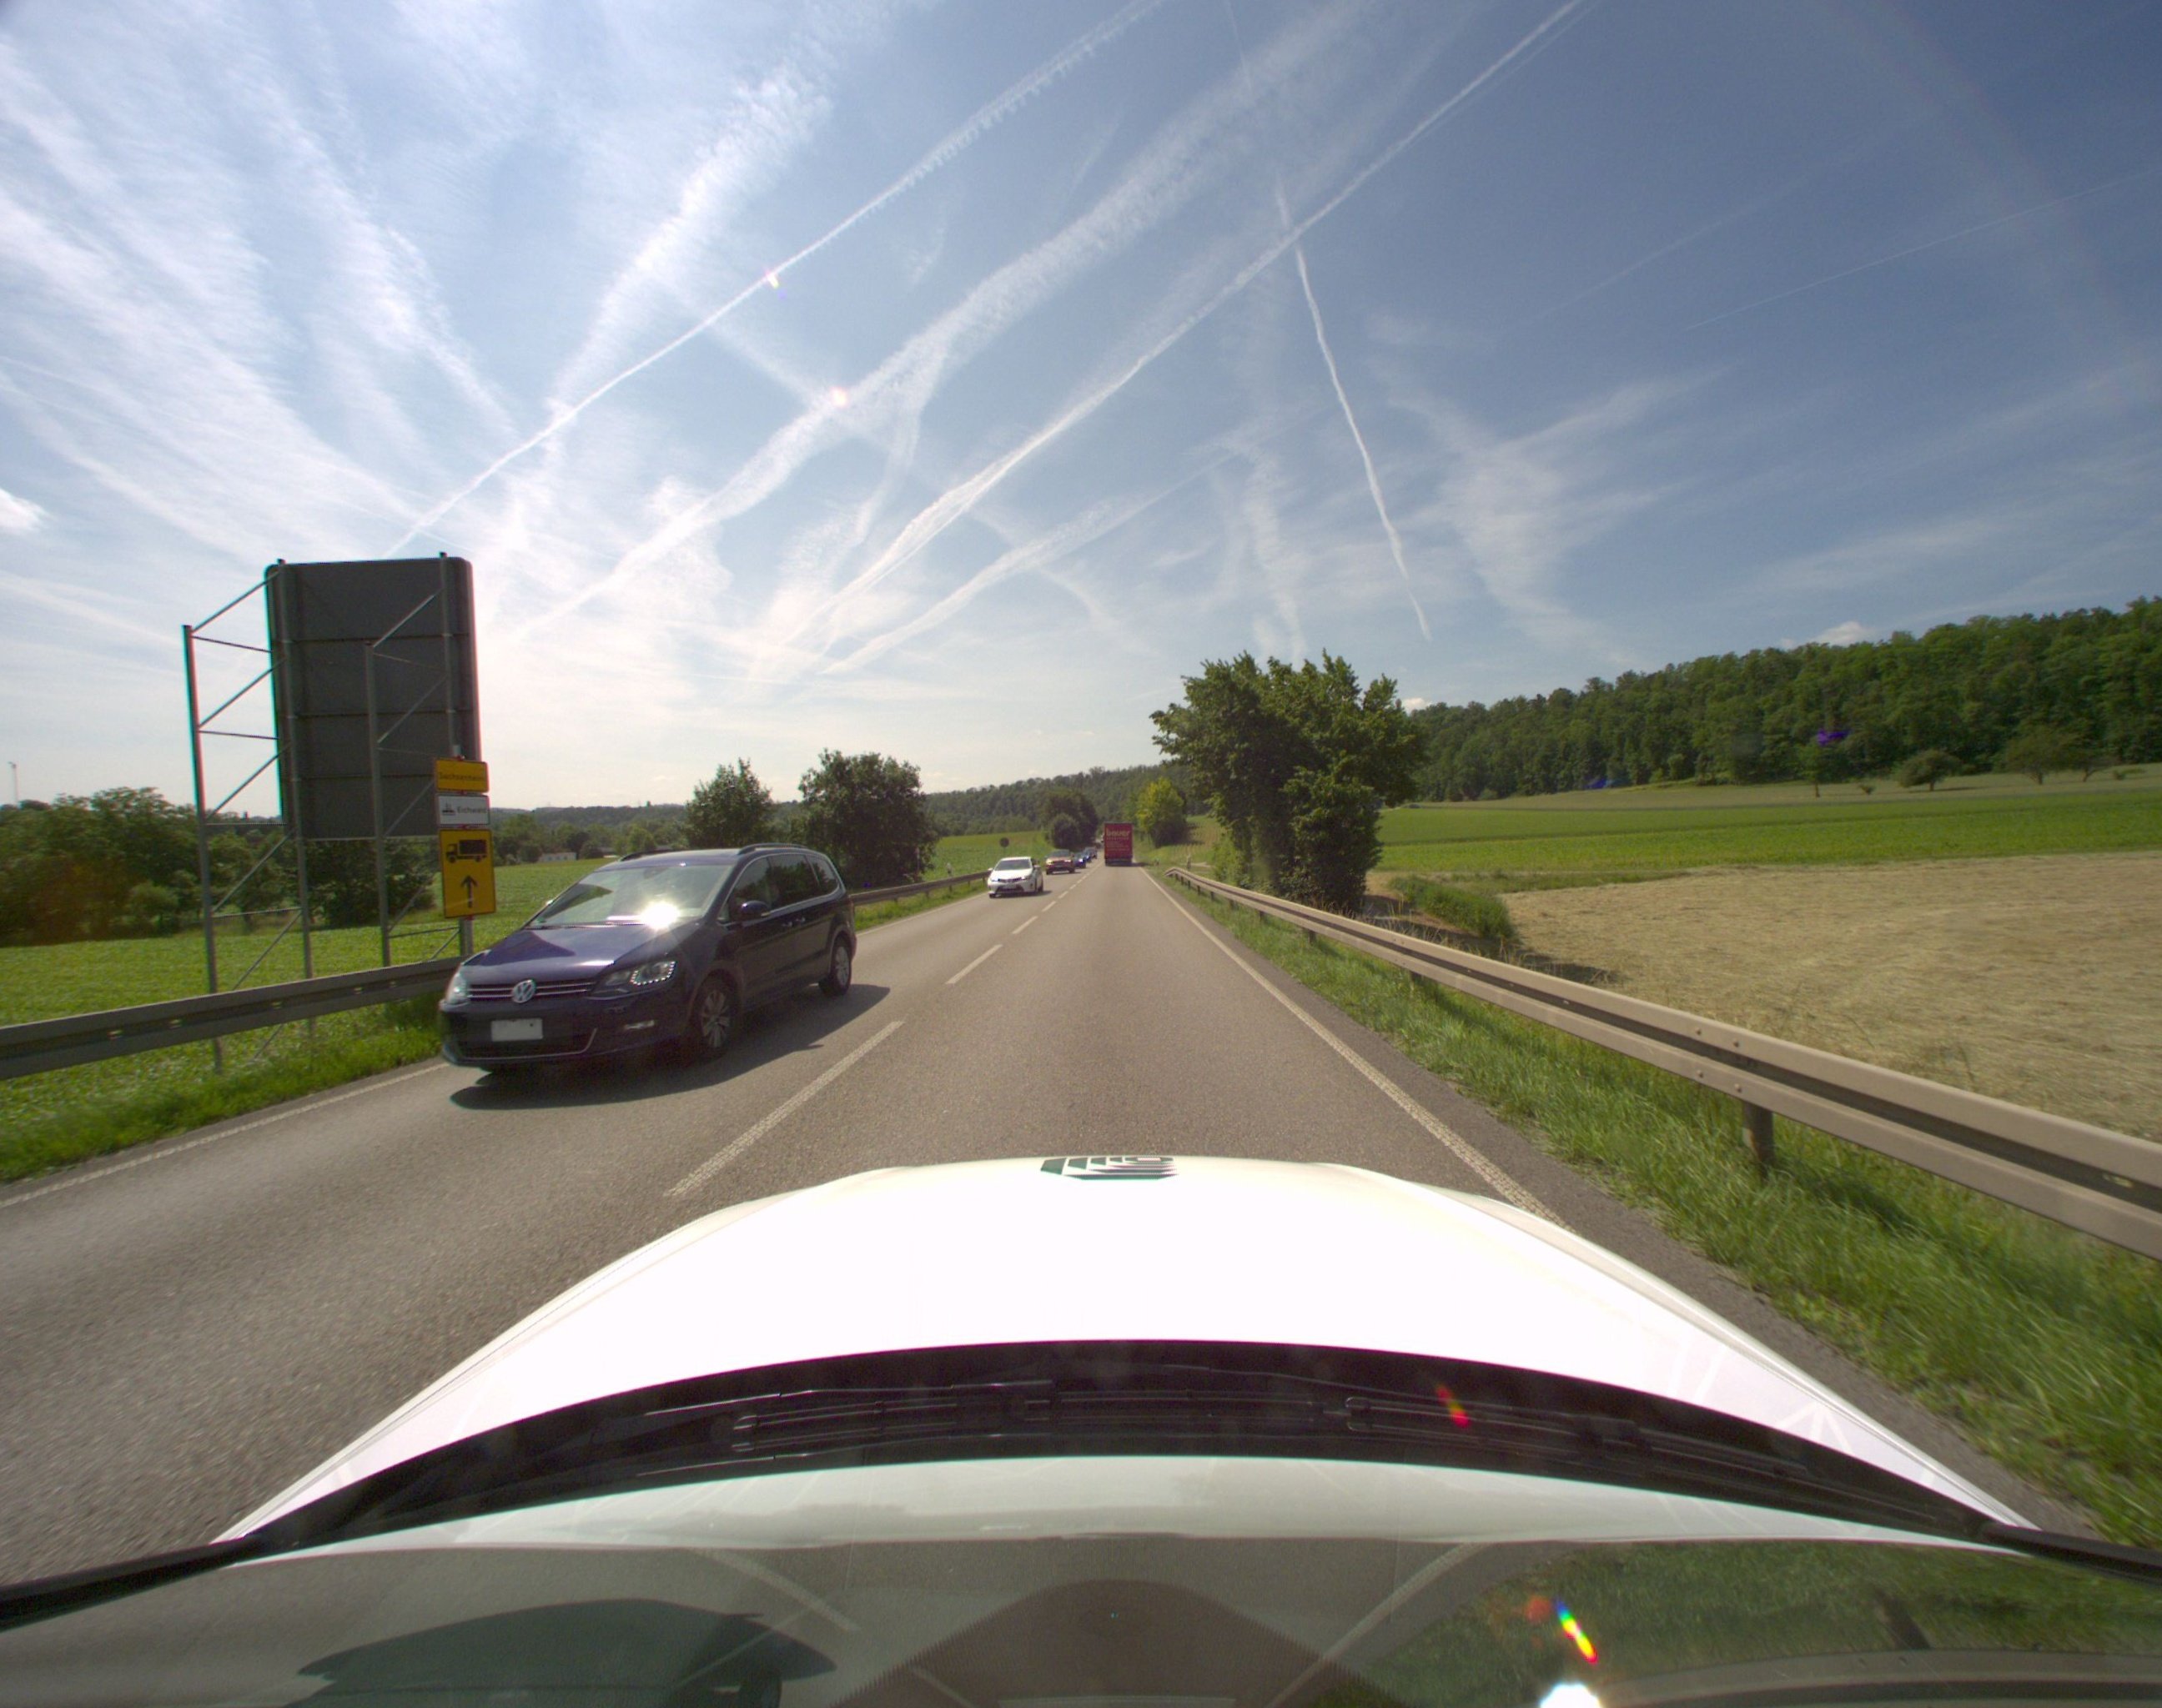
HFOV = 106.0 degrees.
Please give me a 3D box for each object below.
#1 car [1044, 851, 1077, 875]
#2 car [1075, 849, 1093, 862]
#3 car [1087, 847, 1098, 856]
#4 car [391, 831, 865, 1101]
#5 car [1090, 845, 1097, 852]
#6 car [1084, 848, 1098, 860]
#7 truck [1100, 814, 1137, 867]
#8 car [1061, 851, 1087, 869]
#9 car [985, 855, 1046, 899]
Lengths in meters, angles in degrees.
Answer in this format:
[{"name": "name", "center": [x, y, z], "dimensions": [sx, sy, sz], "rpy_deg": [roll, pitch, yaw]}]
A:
[{"name": "car", "center": [-1.388, 0.599, 56.848], "dimensions": [1.905, 1.474, 3.876], "rpy_deg": [-3, 0, 3]}, {"name": "car", "center": [0.392, 0.164, 92.567], "dimensions": [1.825, 1.342, 4.003], "rpy_deg": [-2, 1, 3]}, {"name": "car", "center": [1.922, -0.454, 136.205], "dimensions": [1.801, 1.486, 4.003], "rpy_deg": [-2, 0, 2]}, {"name": "car", "center": [-3.647, 0.754, 7.688], "dimensions": [1.822, 1.722, 4.365], "rpy_deg": [-4, 0, 2]}, {"name": "car", "center": [3.428, -1.394, 221.362], "dimensions": [1.986, 1.794, 4.001], "rpy_deg": [-2, 0, 2]}, {"name": "car", "center": [1.359, -0.025, 113.484], "dimensions": [1.801, 1.486, 4.003], "rpy_deg": [-2, 0, 2]}, {"name": "truck", "center": [3.604, -1.257, 78.916], "dimensions": [3.160, 4.625, 13.552], "rpy_deg": [-1, 0, 2]}, {"name": "car", "center": [-0.575, 0.467, 69.410], "dimensions": [1.985, 1.342, 4.003], "rpy_deg": [-2, 1, 3]}, {"name": "car", "center": [-2.428, 0.821, 31.159], "dimensions": [1.724, 1.434, 3.918], "rpy_deg": [-4, 0, 3]}]
